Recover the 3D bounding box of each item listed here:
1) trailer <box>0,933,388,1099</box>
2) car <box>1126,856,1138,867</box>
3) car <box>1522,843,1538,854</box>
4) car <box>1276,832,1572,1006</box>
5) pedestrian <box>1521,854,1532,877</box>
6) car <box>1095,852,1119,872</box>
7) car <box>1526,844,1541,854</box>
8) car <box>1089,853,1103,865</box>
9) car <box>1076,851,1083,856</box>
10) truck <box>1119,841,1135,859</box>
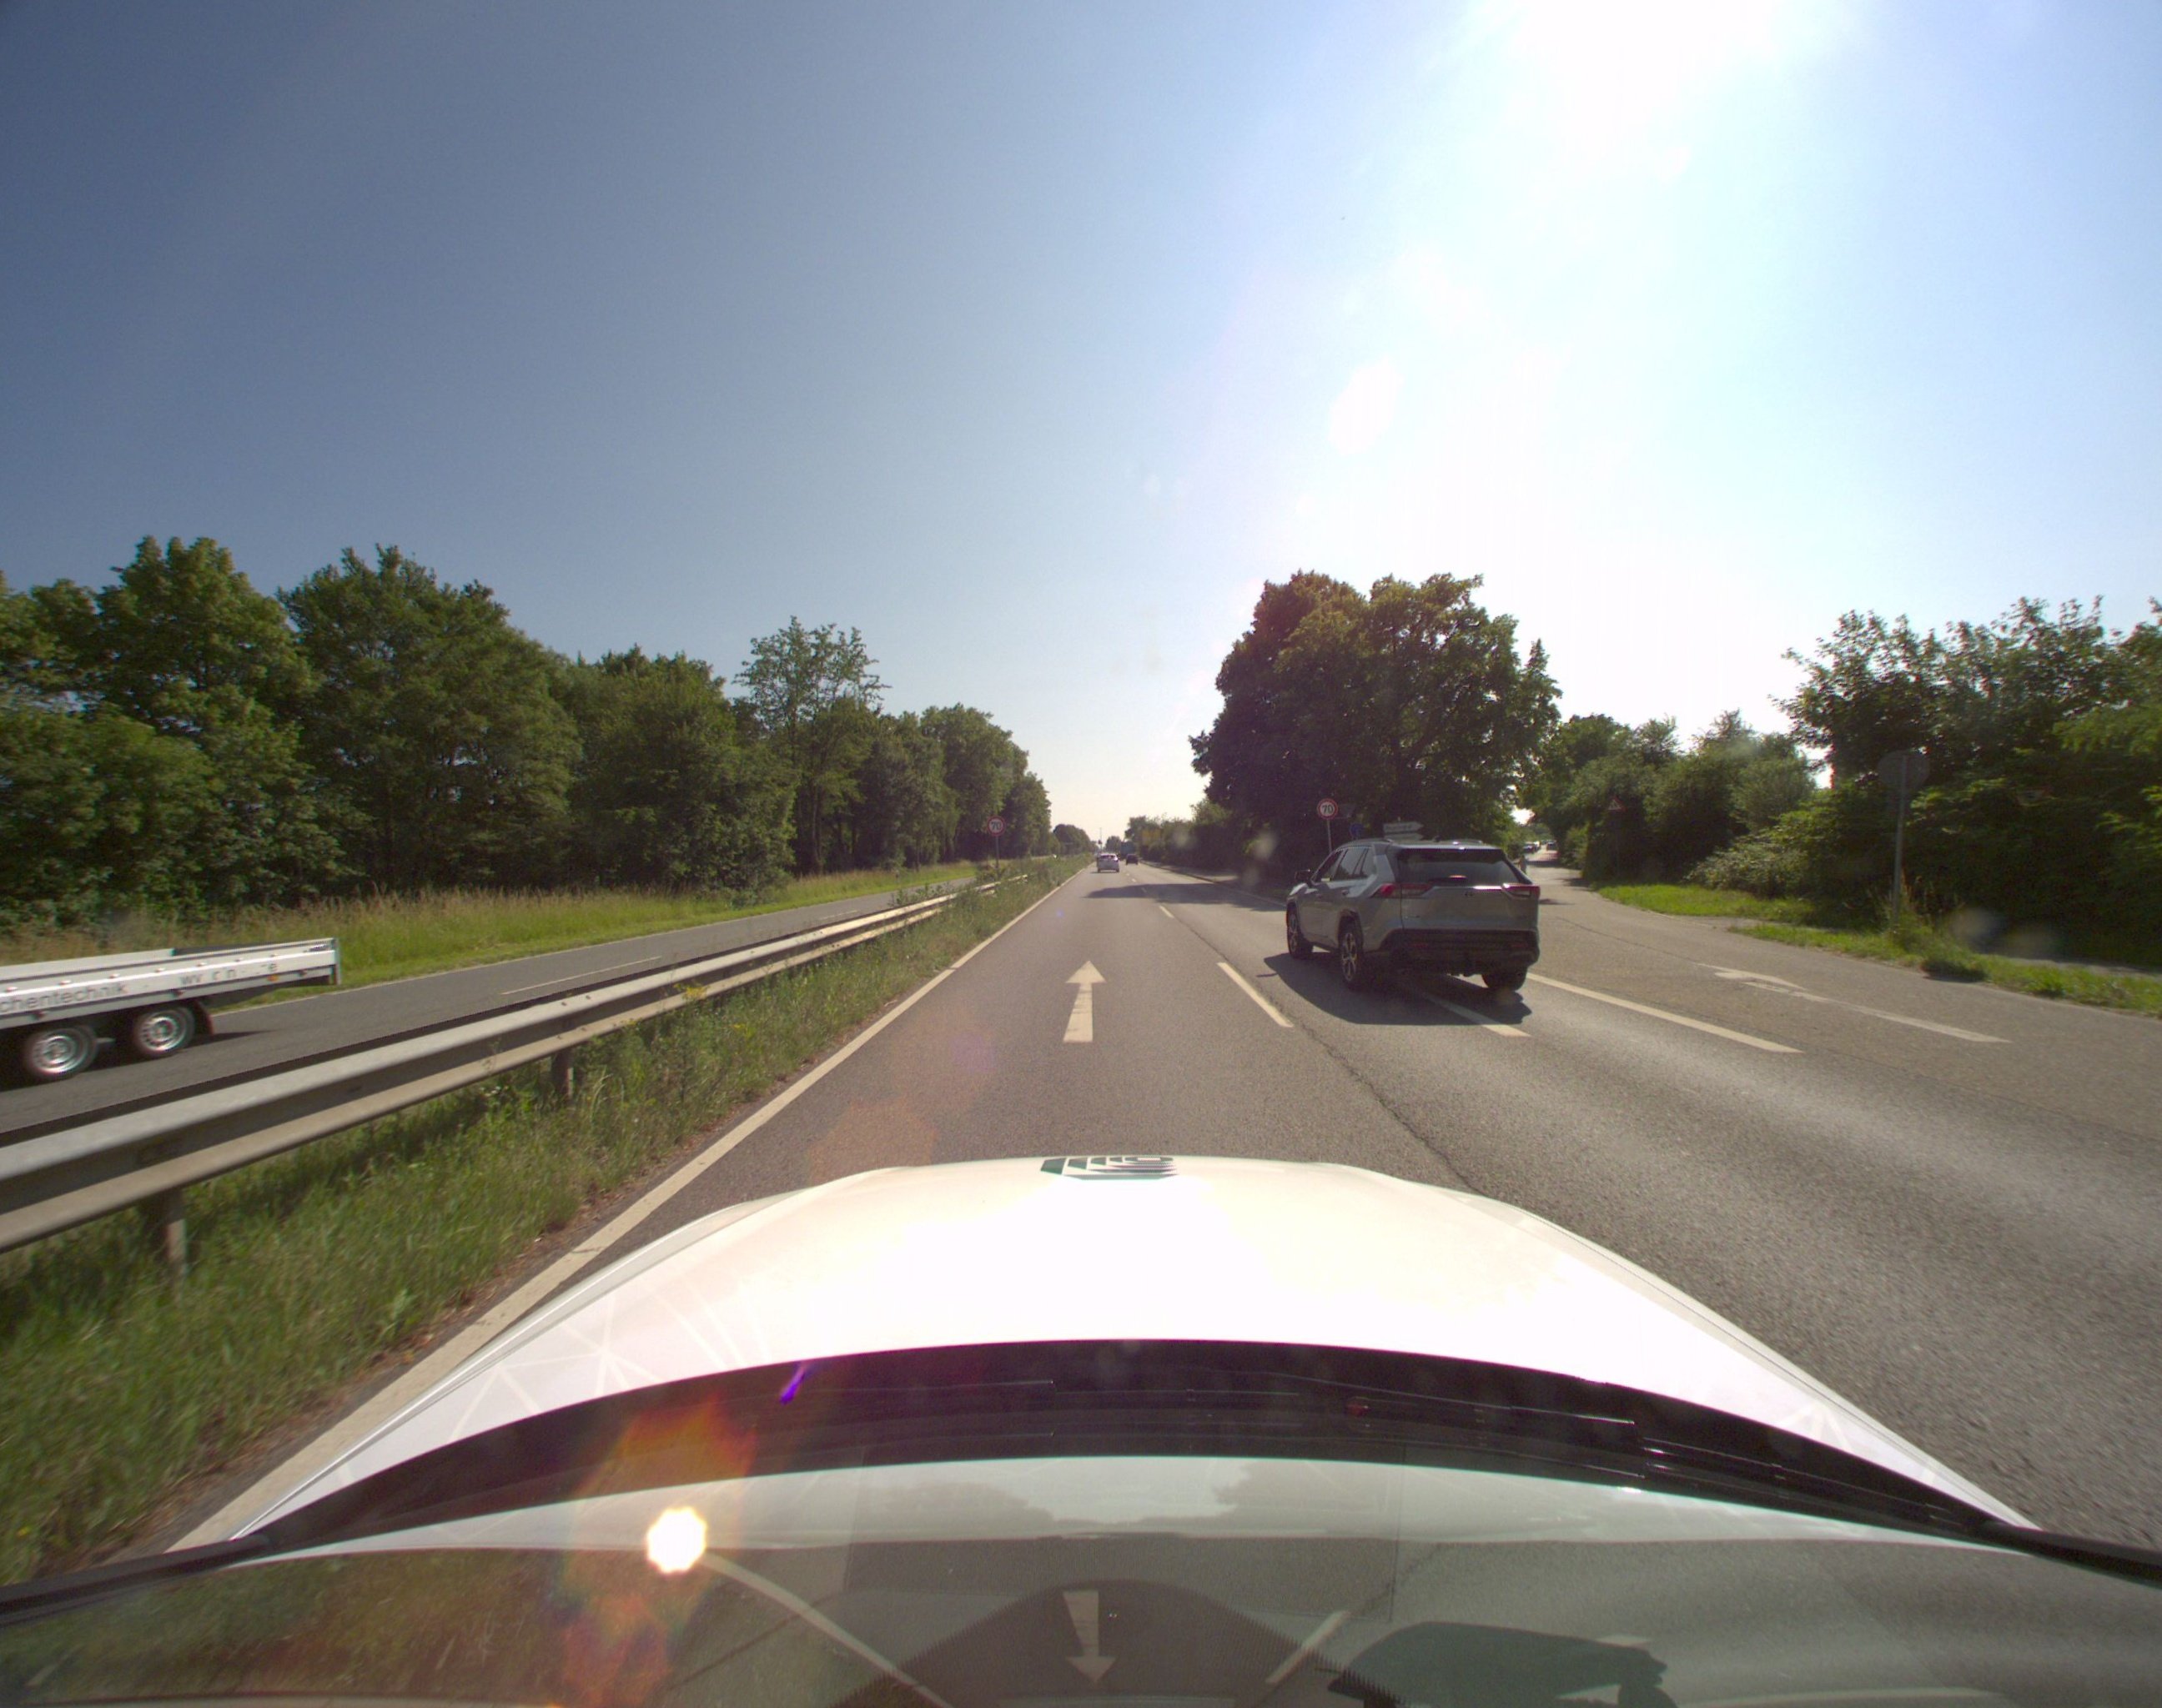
[{"bbox_3d":[-9.551,1.514,7.157,1.956,0.960,5.600,-3,0,2],"label":"trailer"},{"bbox_3d":[6.837,1.028,109.890,1.566,1.414,3.279,-1,-1,2],"label":"car"},{"bbox_3d":[66.998,-0.797,121.526,1.657,1.610,3.898,-1,-1,36],"label":"car"},{"bbox_3d":[3.898,0.627,10.270,1.895,1.680,4.685,0,0,2],"label":"car"},{"bbox_3d":[28.373,0.731,51.904,0.563,1.433,0.471,-1,-1,31],"label":"pedestrian"},{"bbox_3d":[2.092,0.597,64.109,1.791,1.552,4.003,0,0,3],"label":"car"},{"bbox_3d":[74.608,-0.749,134.371,1.657,1.610,3.898,-1,-1,36],"label":"car"},{"bbox_3d":[1.772,0.594,95.648,1.566,1.414,3.279,-1,-1,2],"label":"car"},{"bbox_3d":[-0.482,-0.067,251.367,1.770,1.530,4.166,-2,0,4],"label":"car"},{"bbox_3d":[9.252,-0.810,165.066,2.880,3.428,9.173,-1,0,2],"label":"truck"}]
